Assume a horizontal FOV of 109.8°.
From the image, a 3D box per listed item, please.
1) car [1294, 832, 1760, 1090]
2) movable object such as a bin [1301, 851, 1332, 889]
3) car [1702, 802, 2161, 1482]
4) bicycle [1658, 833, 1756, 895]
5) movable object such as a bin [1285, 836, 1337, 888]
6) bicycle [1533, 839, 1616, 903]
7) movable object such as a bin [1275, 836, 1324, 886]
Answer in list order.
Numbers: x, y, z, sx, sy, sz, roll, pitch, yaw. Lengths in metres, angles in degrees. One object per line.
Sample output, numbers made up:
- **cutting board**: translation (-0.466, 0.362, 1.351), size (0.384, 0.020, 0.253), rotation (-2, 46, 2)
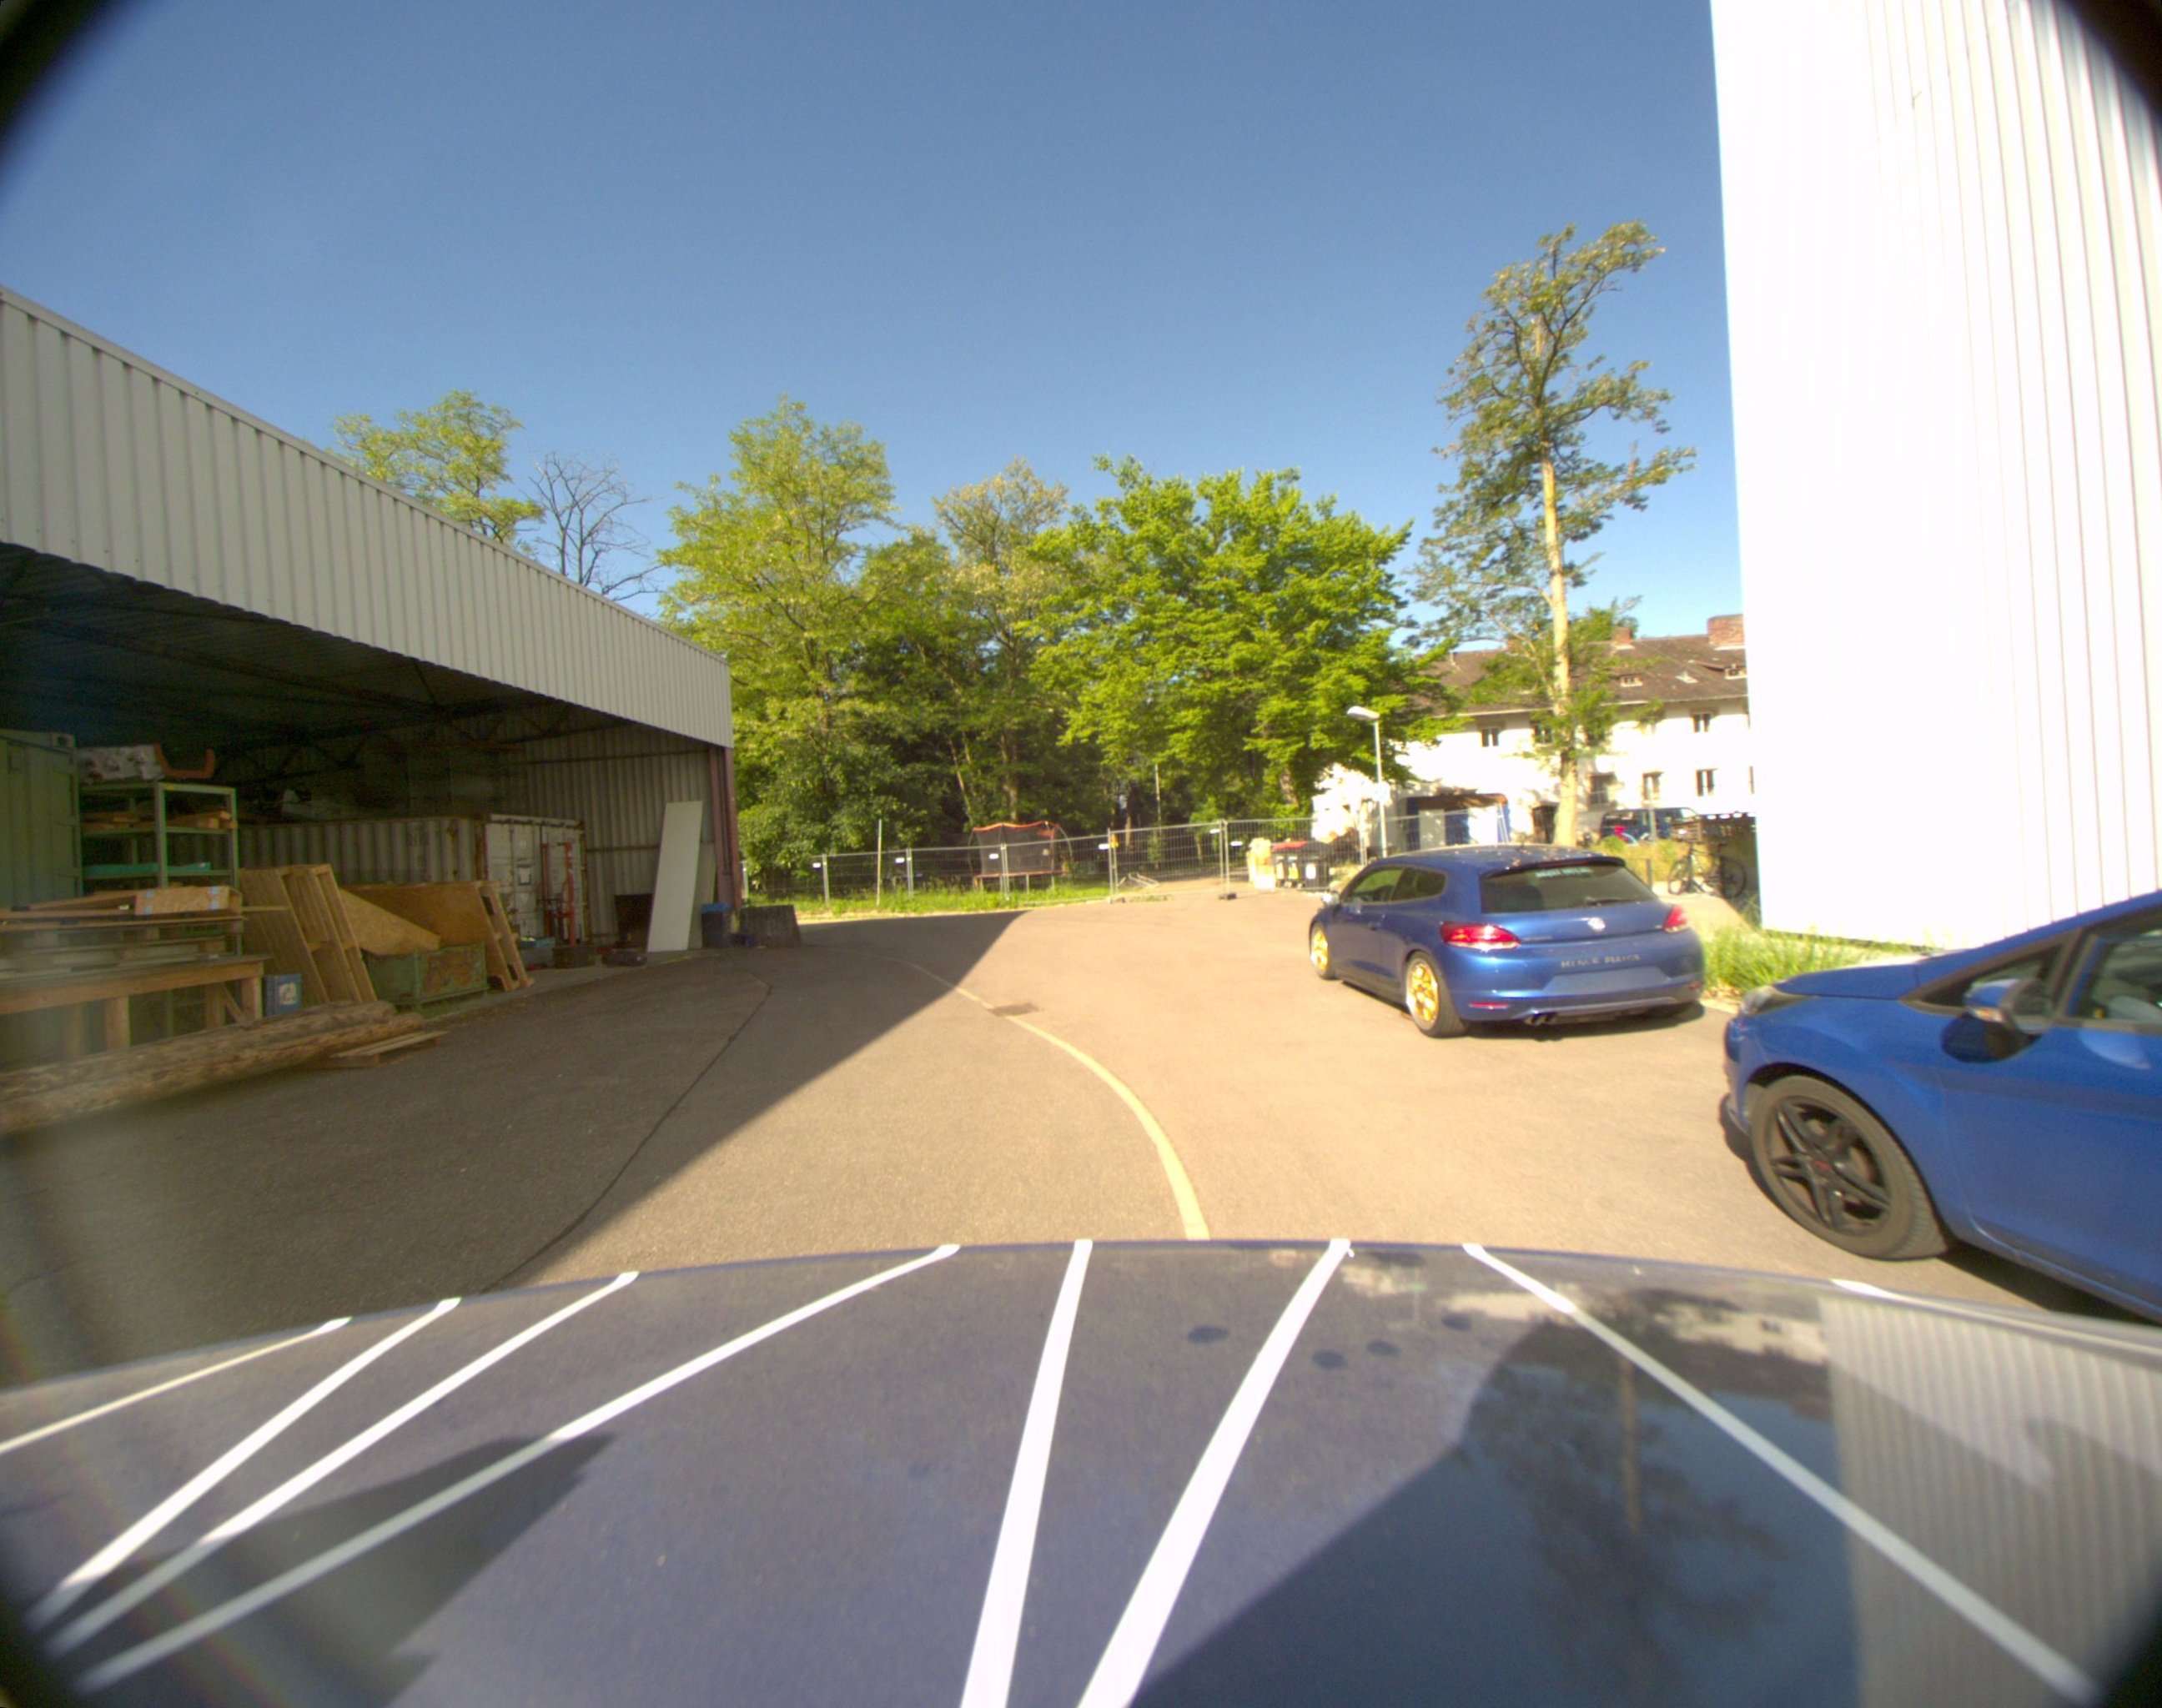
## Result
- **car**: translation (3.289, 0.672, 6.591), size (1.715, 1.440, 3.798), rotation (-5, 0, 0)
- **movable object such as a bin**: translation (6.512, 0.441, 21.059), size (0.688, 1.017, 0.707), rotation (-2, 0, 8)
- **car**: translation (3.151, 0.611, 1.080), size (1.551, 1.479, 3.522), rotation (-5, 0, 0)
- **bicycle**: translation (11.577, 0.174, 14.120), size (0.393, 1.079, 1.707), rotation (-2, 0, 1)
- **movable object such as a bin**: translation (6.701, 0.221, 22.234), size (1.140, 1.426, 1.289), rotation (-2, 0, 3)
- **bicycle**: translation (8.964, 0.291, 13.862), size (0.393, 1.079, 1.707), rotation (-2, 0, 1)
- **movable object such as a bin**: translation (6.764, 0.219, 23.596), size (1.140, 1.469, 1.280), rotation (-2, -1, 3)
